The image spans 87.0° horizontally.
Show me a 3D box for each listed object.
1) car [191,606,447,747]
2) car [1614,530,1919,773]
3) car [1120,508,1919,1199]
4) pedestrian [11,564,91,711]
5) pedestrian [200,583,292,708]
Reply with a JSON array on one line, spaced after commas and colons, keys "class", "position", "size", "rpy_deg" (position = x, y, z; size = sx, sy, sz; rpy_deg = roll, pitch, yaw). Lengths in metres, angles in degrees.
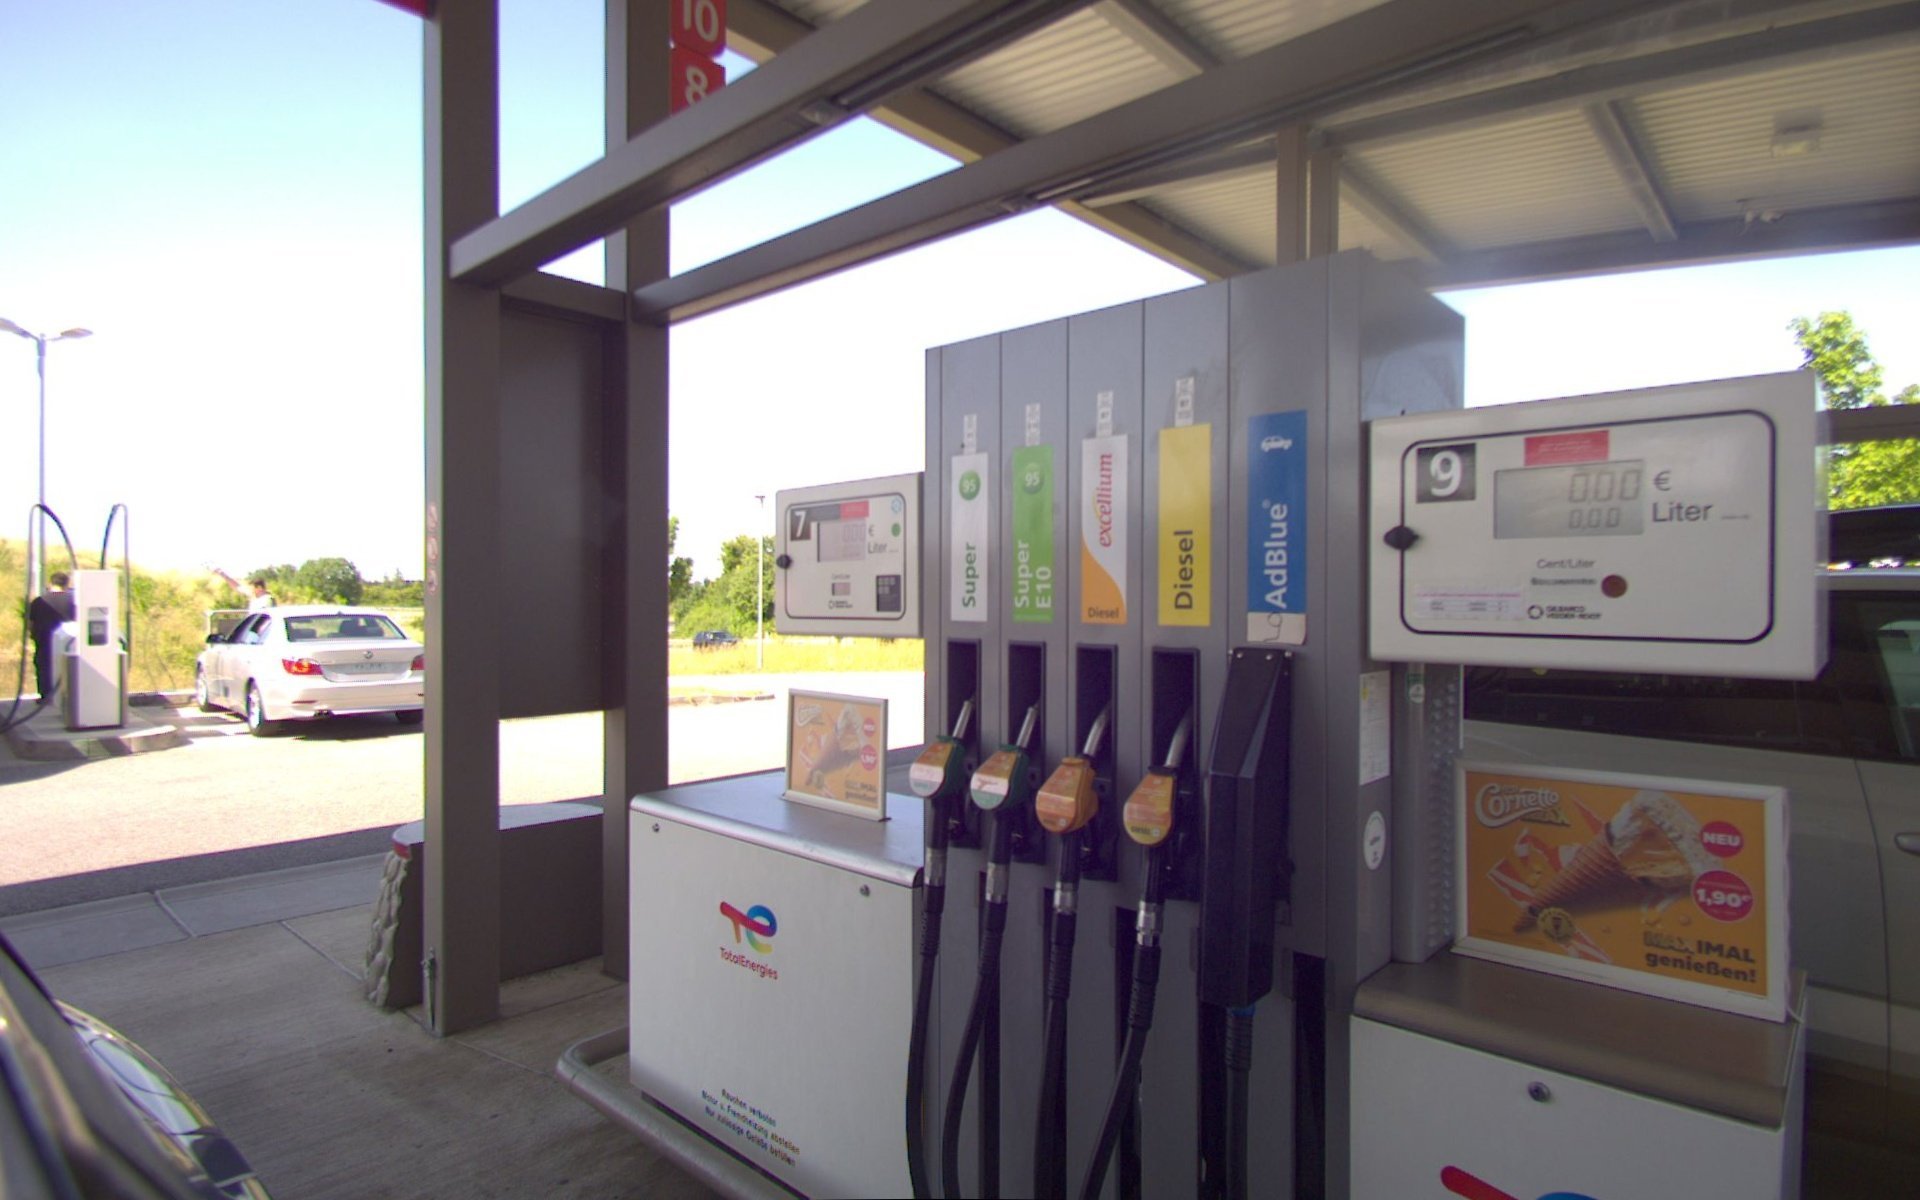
[{"class": "car", "position": [-8.248, 0.824, 12.846], "size": [4.323, 1.439, 1.767], "rpy_deg": [0, 0, 44]}, {"class": "car", "position": [7.638, 0.356, 7.486], "size": [4.531, 1.700, 1.841], "rpy_deg": [-1, -1, 39]}, {"class": "car", "position": [2.713, 0.588, 2.563], "size": [4.326, 1.553, 1.761], "rpy_deg": [-1, -1, 43]}, {"class": "pedestrian", "position": [-11.552, 0.463, 12.858], "size": [0.845, 1.783, 0.699], "rpy_deg": [-1, -1, 45]}, {"class": "pedestrian", "position": [-10.356, 0.647, 14.698], "size": [0.702, 1.762, 0.841], "rpy_deg": [-1, -1, 13]}]
